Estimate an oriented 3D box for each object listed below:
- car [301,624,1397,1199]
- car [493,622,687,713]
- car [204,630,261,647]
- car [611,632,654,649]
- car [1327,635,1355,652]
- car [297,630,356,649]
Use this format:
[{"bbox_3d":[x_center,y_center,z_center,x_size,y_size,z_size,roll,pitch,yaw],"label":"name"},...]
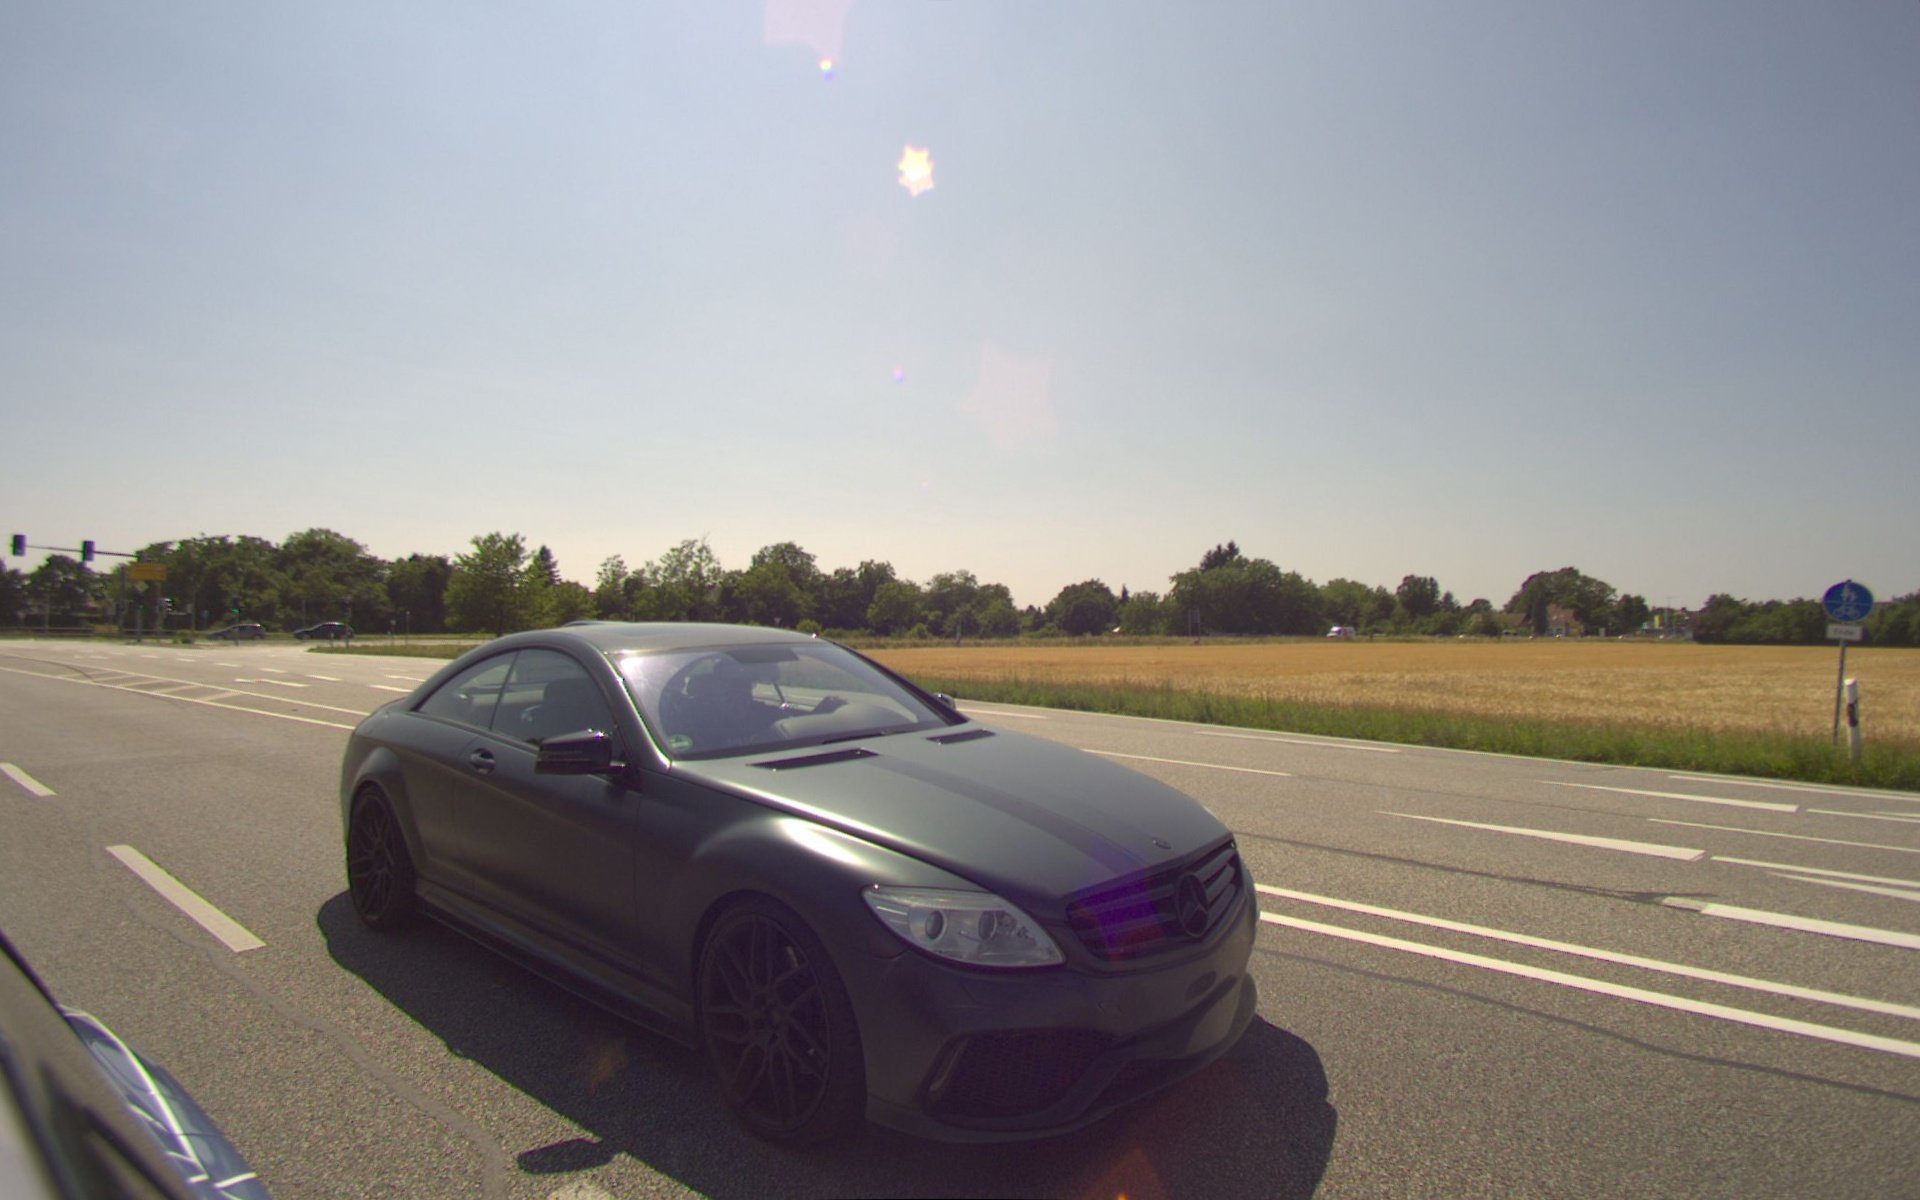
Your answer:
[{"bbox_3d":[-0.981,0.853,4.276,4.875,1.461,1.792,-2,-1,41],"label":"car"},{"bbox_3d":[-6.881,1.173,18.570,1.738,1.468,4.234,4,-4,-44],"label":"car"},{"bbox_3d":[-61.557,3.244,85.649,3.818,1.397,1.638,1,-3,-39],"label":"car"},{"bbox_3d":[-34.798,4.286,107.612,3.940,1.586,1.739,0,-1,-44],"label":"car"},{"bbox_3d":[70.021,8.028,186.078,6.282,2.932,2.003,0,-1,-40],"label":"car"},{"bbox_3d":[-56.249,3.487,89.896,4.297,1.606,1.639,3,-3,-36],"label":"car"}]
